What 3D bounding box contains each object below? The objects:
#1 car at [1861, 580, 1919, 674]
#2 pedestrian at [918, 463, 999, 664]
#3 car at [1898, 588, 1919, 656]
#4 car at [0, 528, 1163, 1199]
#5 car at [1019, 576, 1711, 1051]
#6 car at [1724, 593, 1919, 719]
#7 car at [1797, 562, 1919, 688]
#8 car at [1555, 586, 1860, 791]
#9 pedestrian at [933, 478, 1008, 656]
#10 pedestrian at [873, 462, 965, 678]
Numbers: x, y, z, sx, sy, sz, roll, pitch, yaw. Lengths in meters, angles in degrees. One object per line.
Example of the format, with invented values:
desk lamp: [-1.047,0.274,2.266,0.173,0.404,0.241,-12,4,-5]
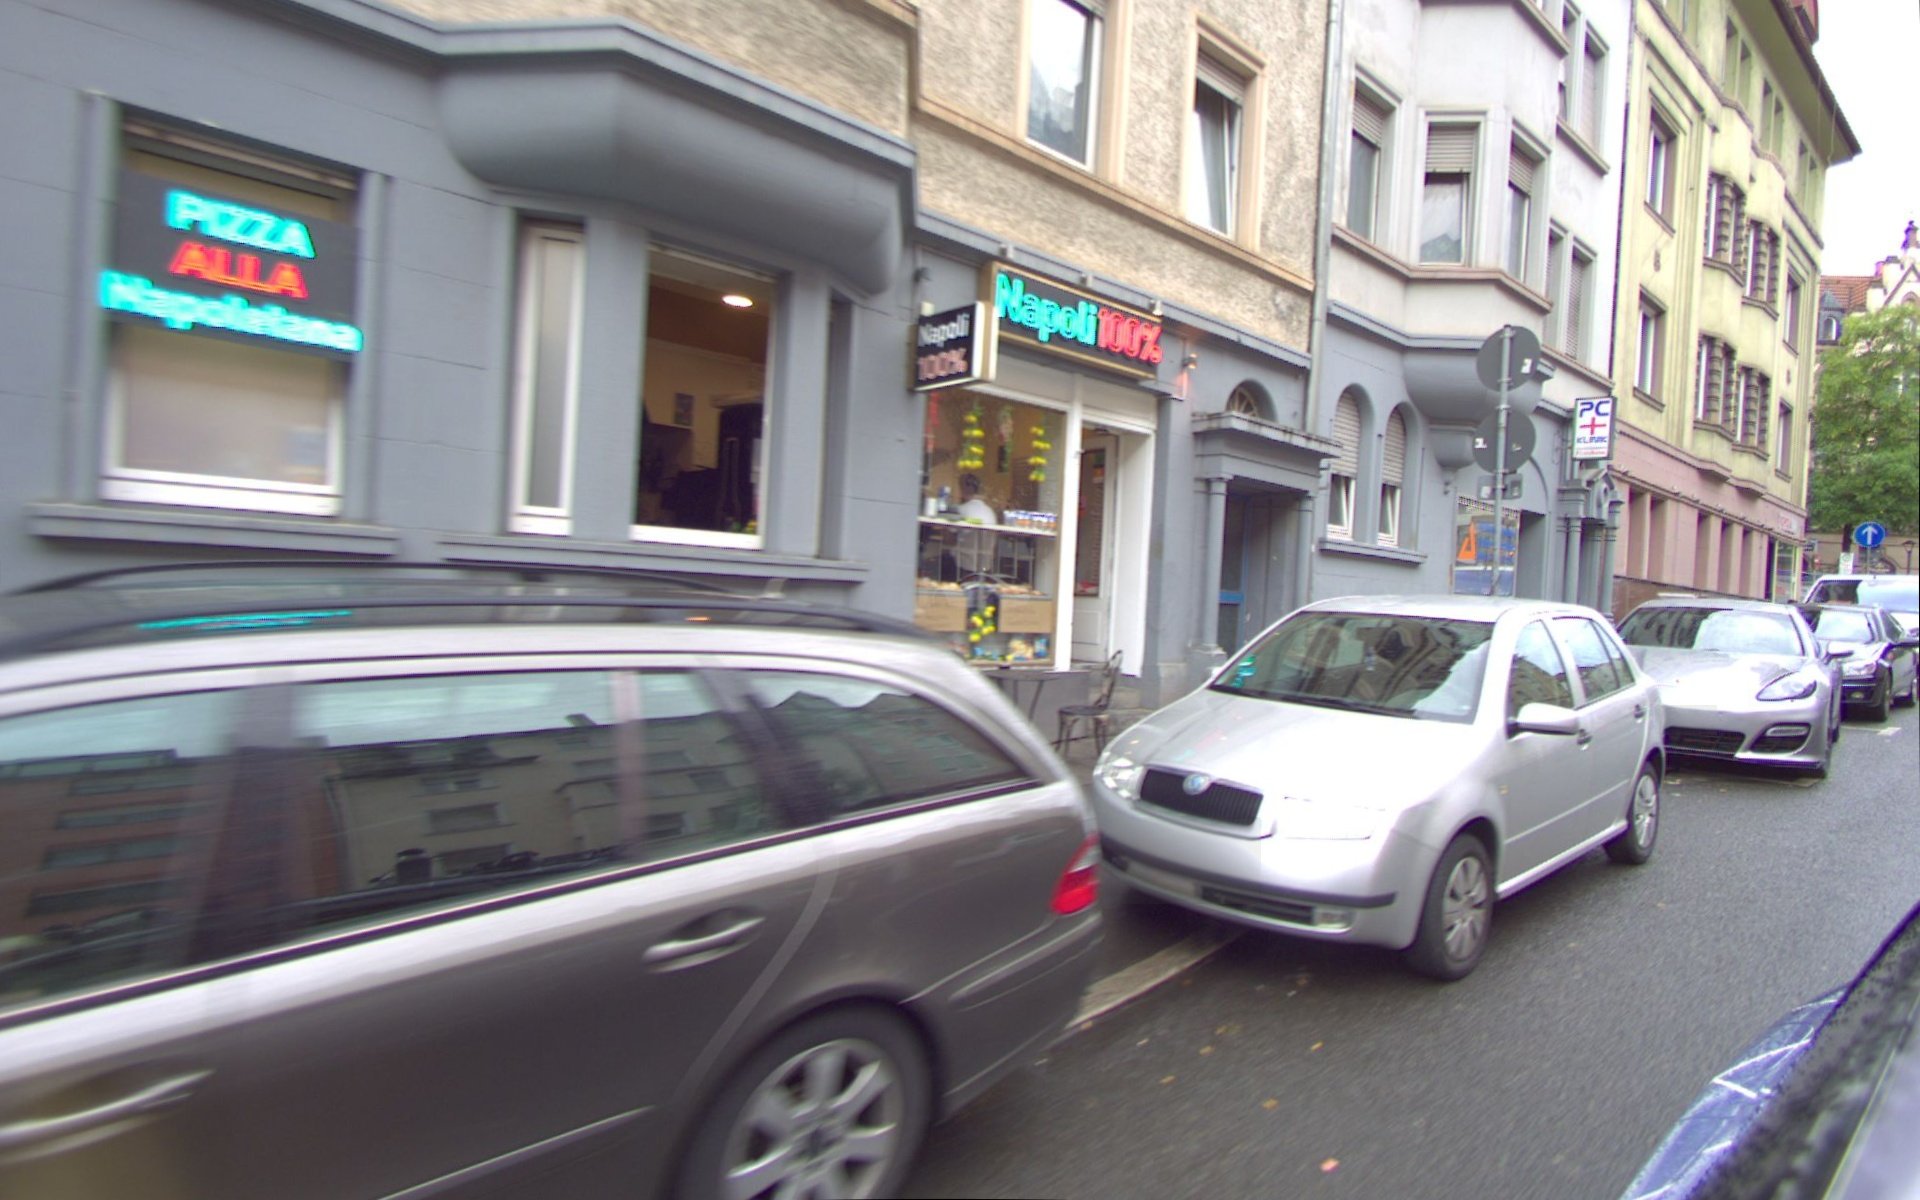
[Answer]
car: [20.173,0.525,20.775,4.595,1.752,1.883,0,3,-41]
pedestrian: [-0.012,-0.310,8.556,0.614,1.639,0.417,2,2,2]
car: [24.363,0.510,24.687,4.415,1.584,1.801,0,1,-42]
car: [-1.890,0.643,1.995,4.713,1.495,1.905,0,5,-40]
car: [2.269,0.644,5.092,3.945,1.493,1.614,0,1,-41]
car: [11.802,0.625,13.545,4.201,1.392,1.680,0,1,-41]
car: [15.999,0.350,17.163,4.922,1.849,1.923,0,3,-41]
car: [7.409,0.621,9.813,1.875,1.485,4.701,1,1,43]
pedestrian: [0.105,-0.318,9.677,0.414,1.639,0.596,3,2,32]
pedestrian: [-0.316,-0.247,8.061,0.479,1.639,0.663,3,2,19]
